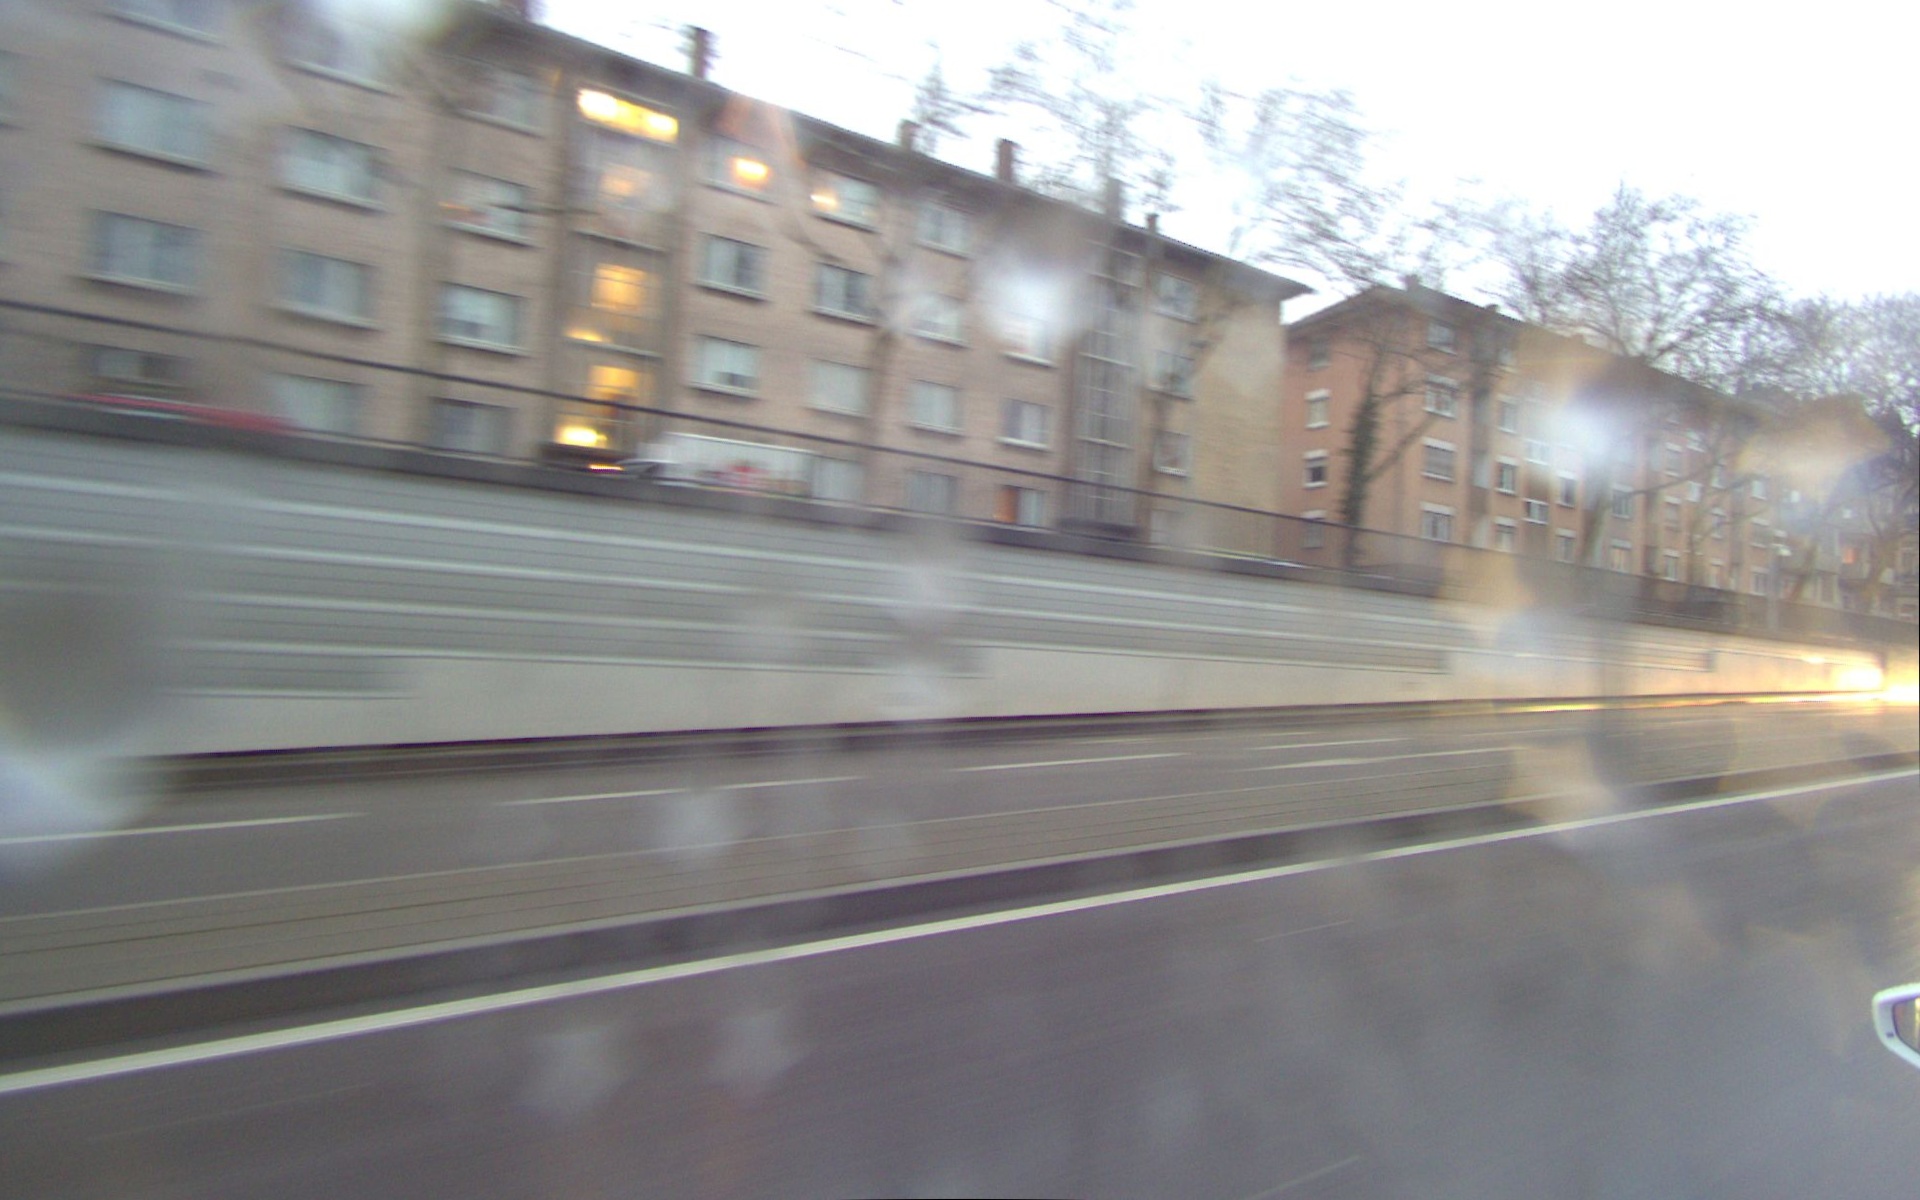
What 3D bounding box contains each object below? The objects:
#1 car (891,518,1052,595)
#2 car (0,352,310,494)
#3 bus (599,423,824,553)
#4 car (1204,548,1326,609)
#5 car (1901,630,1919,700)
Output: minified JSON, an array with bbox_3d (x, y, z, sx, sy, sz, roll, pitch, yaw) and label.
[{"bbox_3d":[0.320,-1.028,25.388,3.835,1.491,1.557,4,-5,-31],"label":"car"},{"bbox_3d":[-13.298,-2.859,16.854,3.833,1.491,1.558,4,-5,-30],"label":"car"},{"bbox_3d":[-4.935,-2.126,20.047,4.015,1.894,1.688,4,-5,-29],"label":"bus"},{"bbox_3d":[9.313,-0.609,30.603,3.585,1.491,1.557,4,-5,-31],"label":"car"},{"bbox_3d":[24.121,1.526,23.675,3.795,1.613,1.777,1,-3,-30],"label":"car"}]
